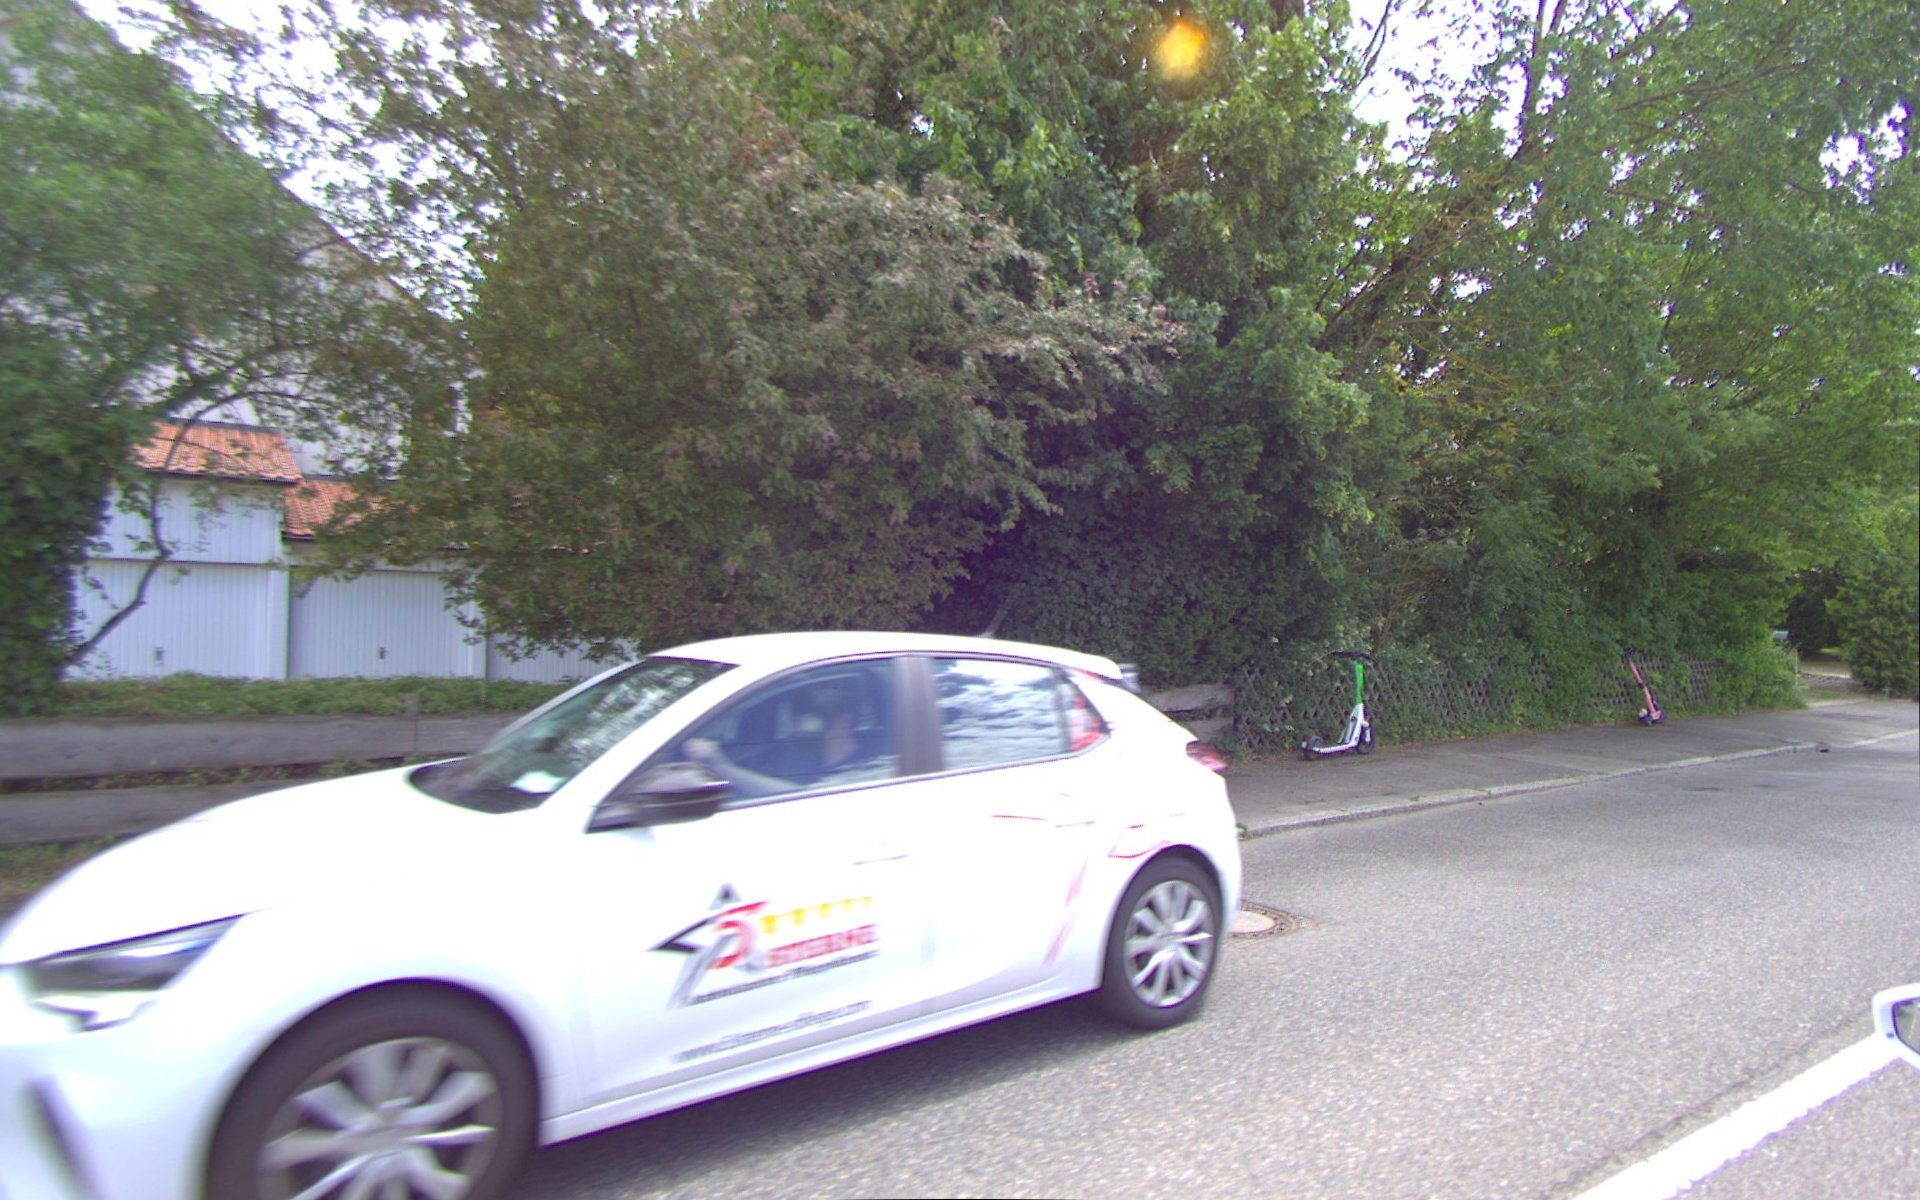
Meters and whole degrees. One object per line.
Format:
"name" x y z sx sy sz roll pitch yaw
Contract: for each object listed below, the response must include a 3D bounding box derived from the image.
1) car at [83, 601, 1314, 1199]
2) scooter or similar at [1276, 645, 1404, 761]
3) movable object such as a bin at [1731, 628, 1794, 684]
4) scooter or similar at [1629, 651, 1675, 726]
"car" -0.587 0.813 3.685 3.748 1.449 1.683 2 -3 -35
"scooter or similar" 4.273 1.121 11.248 1.620 1.215 0.406 2 -1 -30
"movable object such as a bin" 21.206 1.466 26.556 1.258 1.419 0.894 0 -2 42
"scooter or similar" 10.976 1.378 15.917 0.471 1.095 1.208 1 0 40
